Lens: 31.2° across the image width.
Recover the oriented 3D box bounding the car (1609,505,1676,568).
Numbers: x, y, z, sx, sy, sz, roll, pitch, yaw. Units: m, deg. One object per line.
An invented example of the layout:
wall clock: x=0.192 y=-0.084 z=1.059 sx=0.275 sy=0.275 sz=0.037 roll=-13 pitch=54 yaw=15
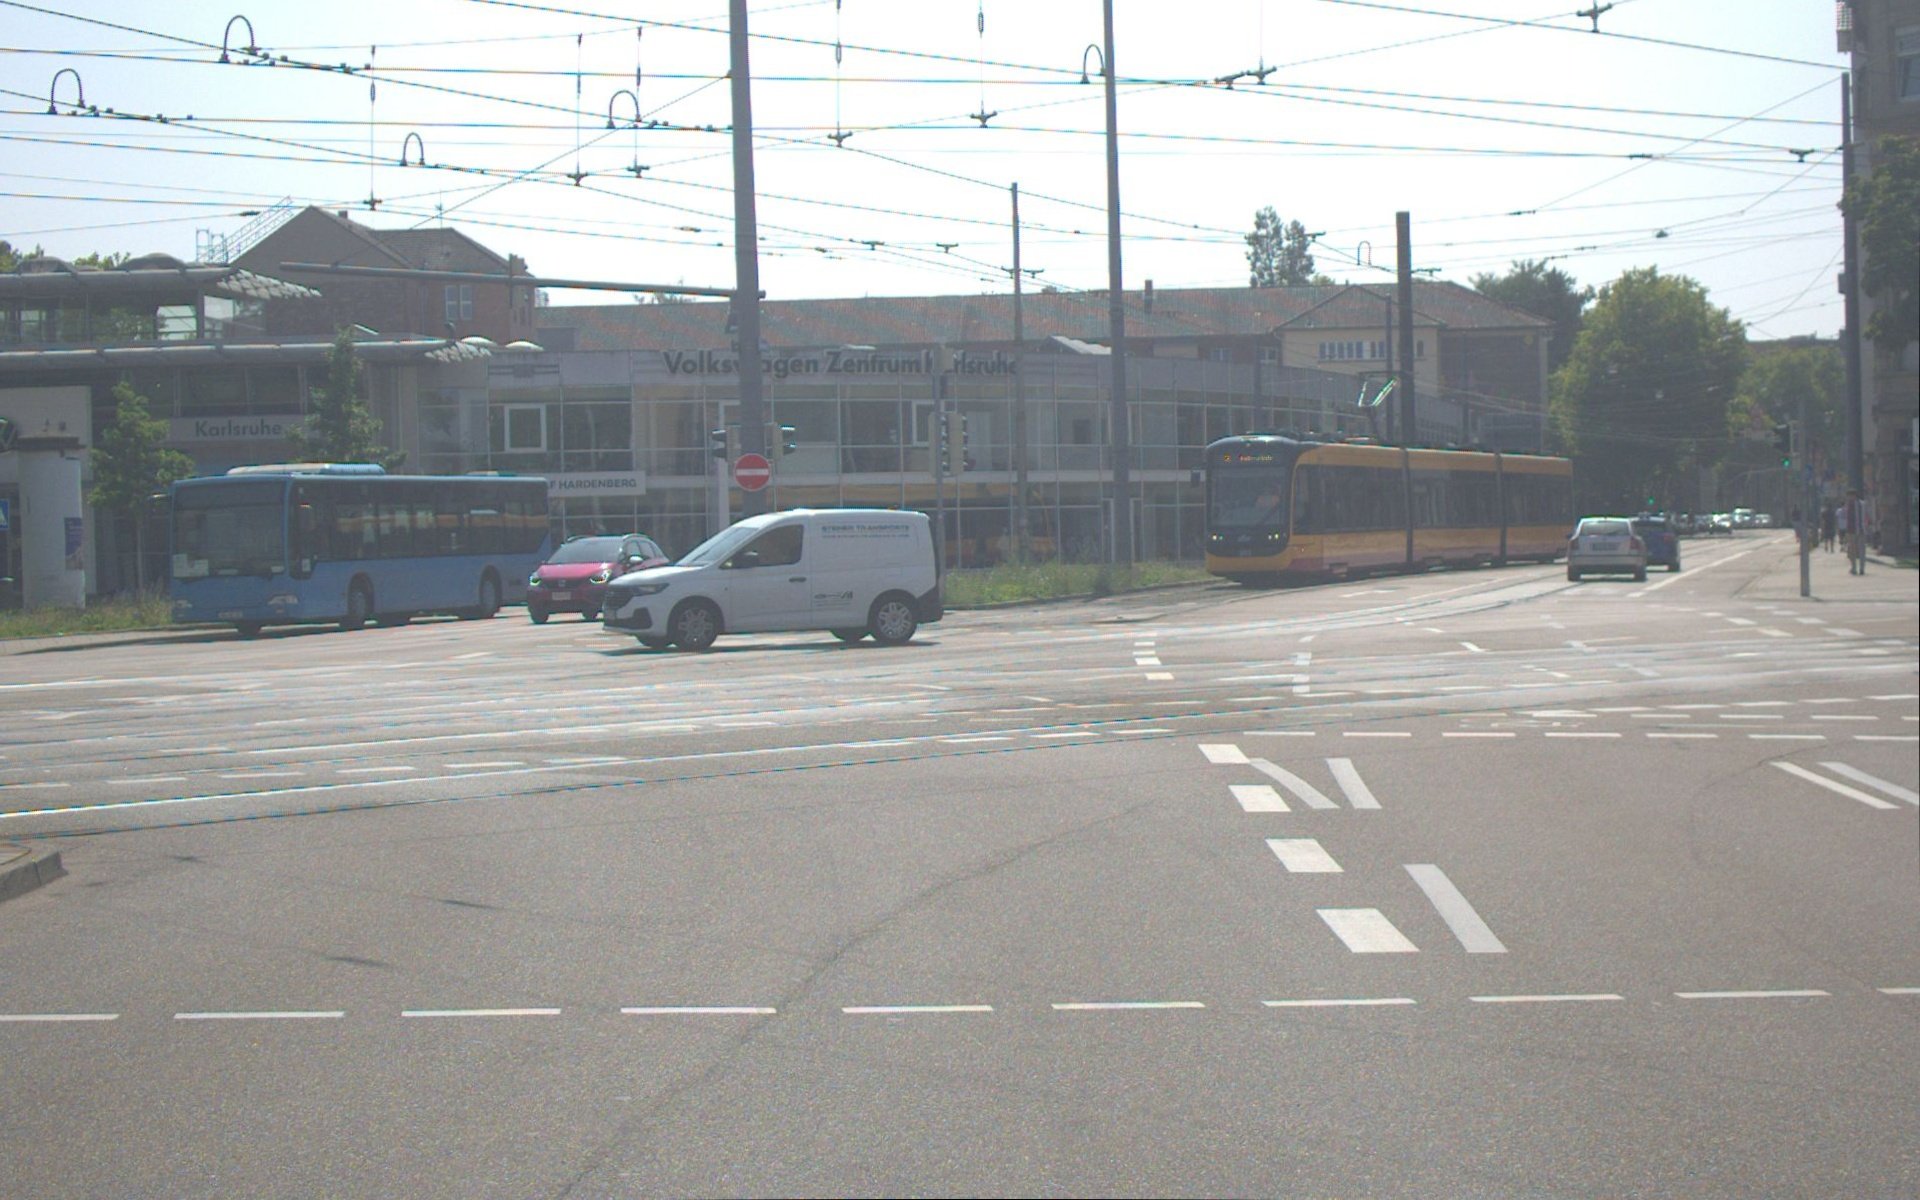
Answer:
car: x=17.952 y=-1.677 z=90.339 sx=1.637 sy=1.612 sz=3.998 roll=-1 pitch=1 yaw=12

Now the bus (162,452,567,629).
bus: x=-11.223 y=-1.183 z=66.625 sx=2.564 sy=3.072 sz=12.014 roll=-1 pitch=1 yaw=17

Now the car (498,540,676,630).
car: x=-6.835 y=-0.298 z=63.351 sx=1.751 sy=1.546 sz=3.997 roll=-1 pitch=1 yaw=18

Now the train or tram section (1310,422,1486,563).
train or tram section: x=11.756 y=-2.813 z=91.444 sx=2.591 sy=3.504 sz=9.649 roll=-1 pitch=1 yaw=20

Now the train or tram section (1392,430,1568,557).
train or tram section: x=15.579 y=-3.124 z=102.031 sx=2.591 sy=3.504 sz=12.960 roll=-1 pitch=1 yaw=20

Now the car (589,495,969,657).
car: x=-2.412 y=-0.346 z=45.784 sx=4.609 sy=2.007 sz=2.001 roll=-1 pitch=1 yaw=-22

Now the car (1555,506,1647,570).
car: x=14.870 y=-1.442 z=79.628 sx=1.771 sy=1.411 sz=4.186 roll=-1 pitch=1 yaw=15

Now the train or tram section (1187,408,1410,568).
train or tram section: x=8.213 y=-2.611 z=81.806 sx=2.591 sy=3.504 sz=10.888 roll=-1 pitch=1 yaw=20

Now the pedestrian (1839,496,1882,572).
pedestrian: x=19.170 y=-1.402 z=73.213 sx=0.699 sy=1.597 sz=0.573 roll=-1 pitch=1 yaw=-8

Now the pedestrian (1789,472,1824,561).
pedestrian: x=28.769 y=-2.830 z=116.907 sx=0.983 sy=3.007 sz=0.974 roll=-1 pitch=1 yaw=6

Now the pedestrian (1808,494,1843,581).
pedestrian: x=30.252 y=-2.183 z=120.204 sx=0.983 sy=3.007 sz=0.974 roll=-1 pitch=1 yaw=3
